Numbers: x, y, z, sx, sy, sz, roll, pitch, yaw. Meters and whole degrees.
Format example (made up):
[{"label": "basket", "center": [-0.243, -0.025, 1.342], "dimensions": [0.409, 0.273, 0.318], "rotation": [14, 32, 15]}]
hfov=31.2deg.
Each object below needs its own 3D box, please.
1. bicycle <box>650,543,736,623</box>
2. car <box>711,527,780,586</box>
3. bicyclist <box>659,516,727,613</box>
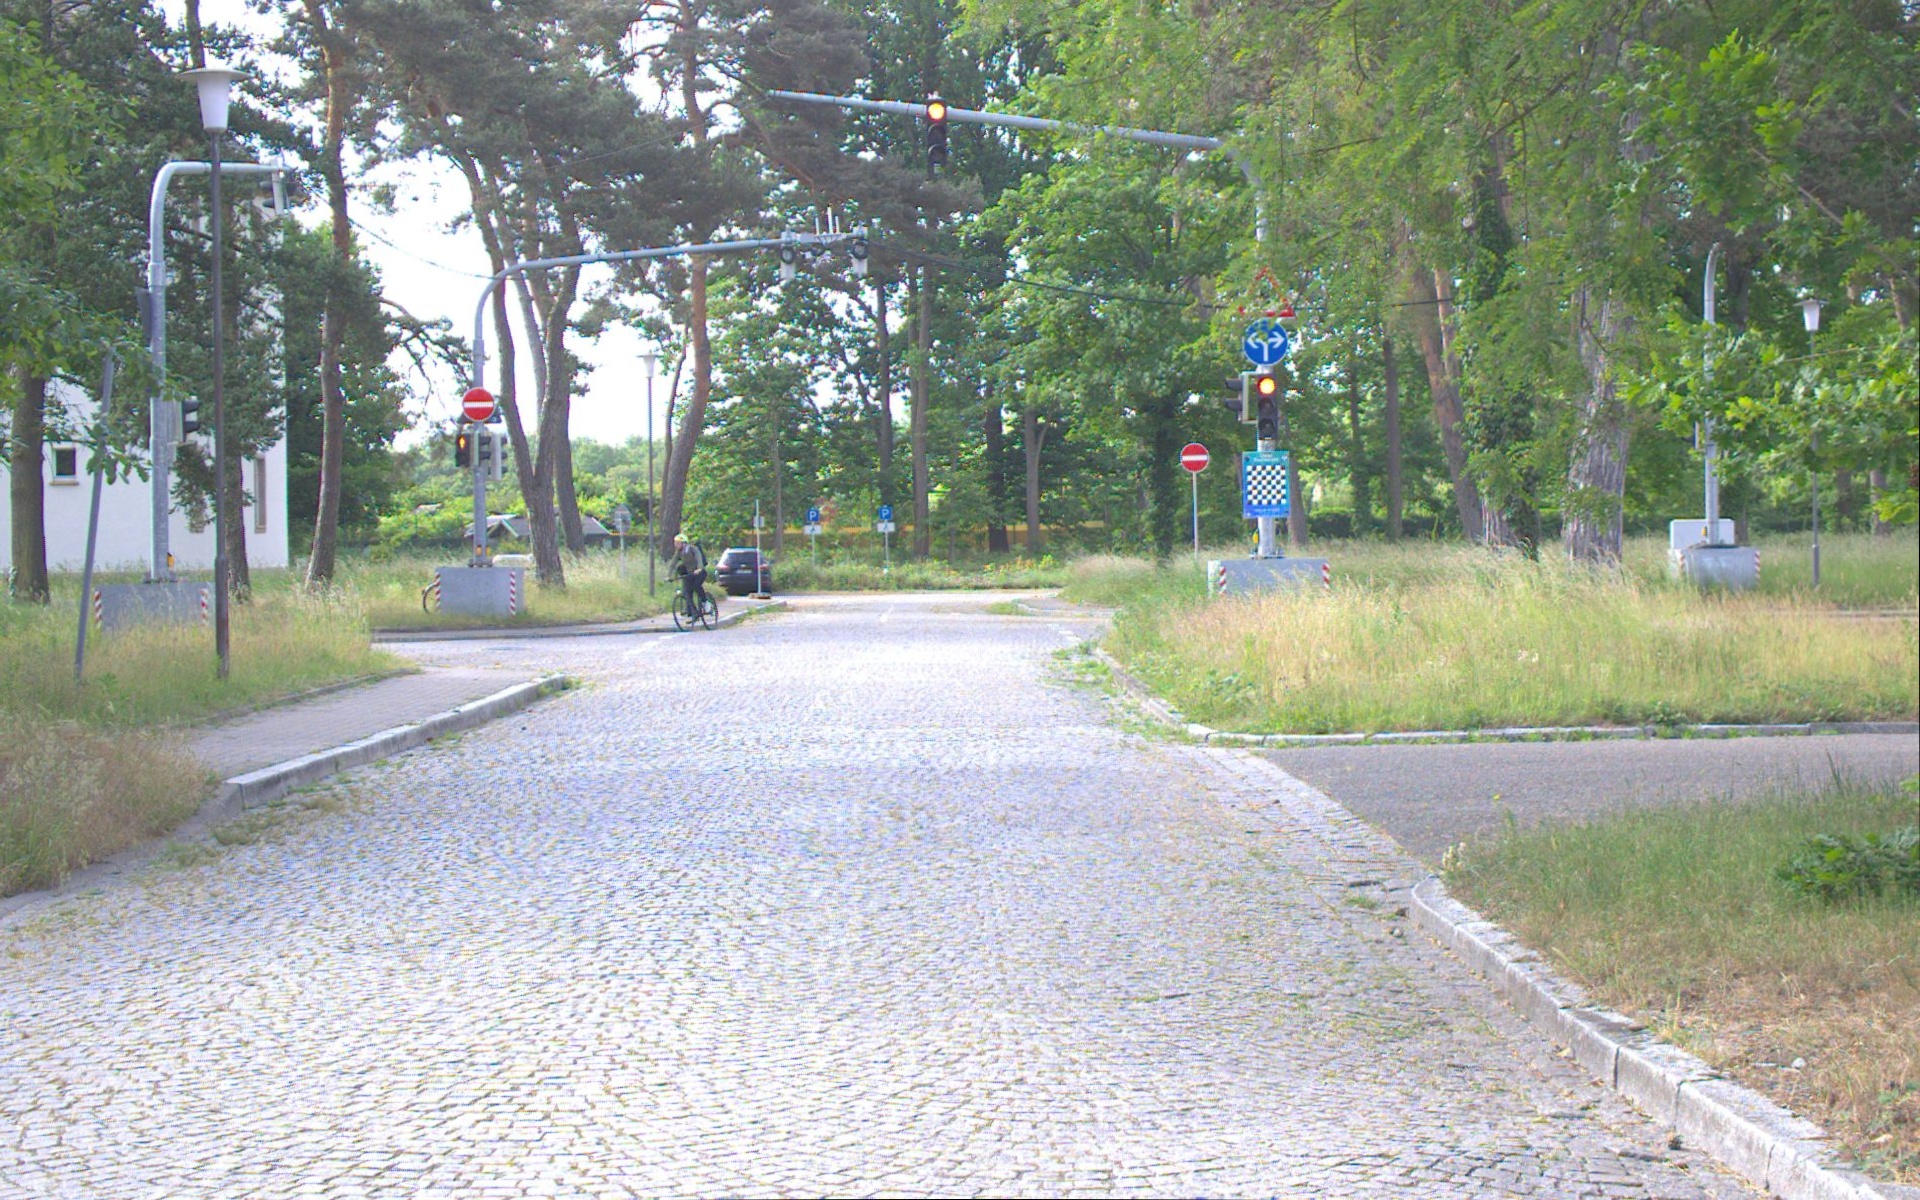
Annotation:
[{"label": "bicycle", "center": [-4.764, -0.313, 61.483], "dimensions": [0.936, 1.382, 2.185], "rotation": [-1, 1, 12]}, {"label": "car", "center": [-6.993, -1.436, 112.347], "dimensions": [2.056, 1.840, 4.000], "rotation": [-1, 1, -1]}, {"label": "bicyclist", "center": [-4.771, -0.634, 61.483], "dimensions": [0.954, 1.691, 0.923], "rotation": [-1, 0, 12]}]
